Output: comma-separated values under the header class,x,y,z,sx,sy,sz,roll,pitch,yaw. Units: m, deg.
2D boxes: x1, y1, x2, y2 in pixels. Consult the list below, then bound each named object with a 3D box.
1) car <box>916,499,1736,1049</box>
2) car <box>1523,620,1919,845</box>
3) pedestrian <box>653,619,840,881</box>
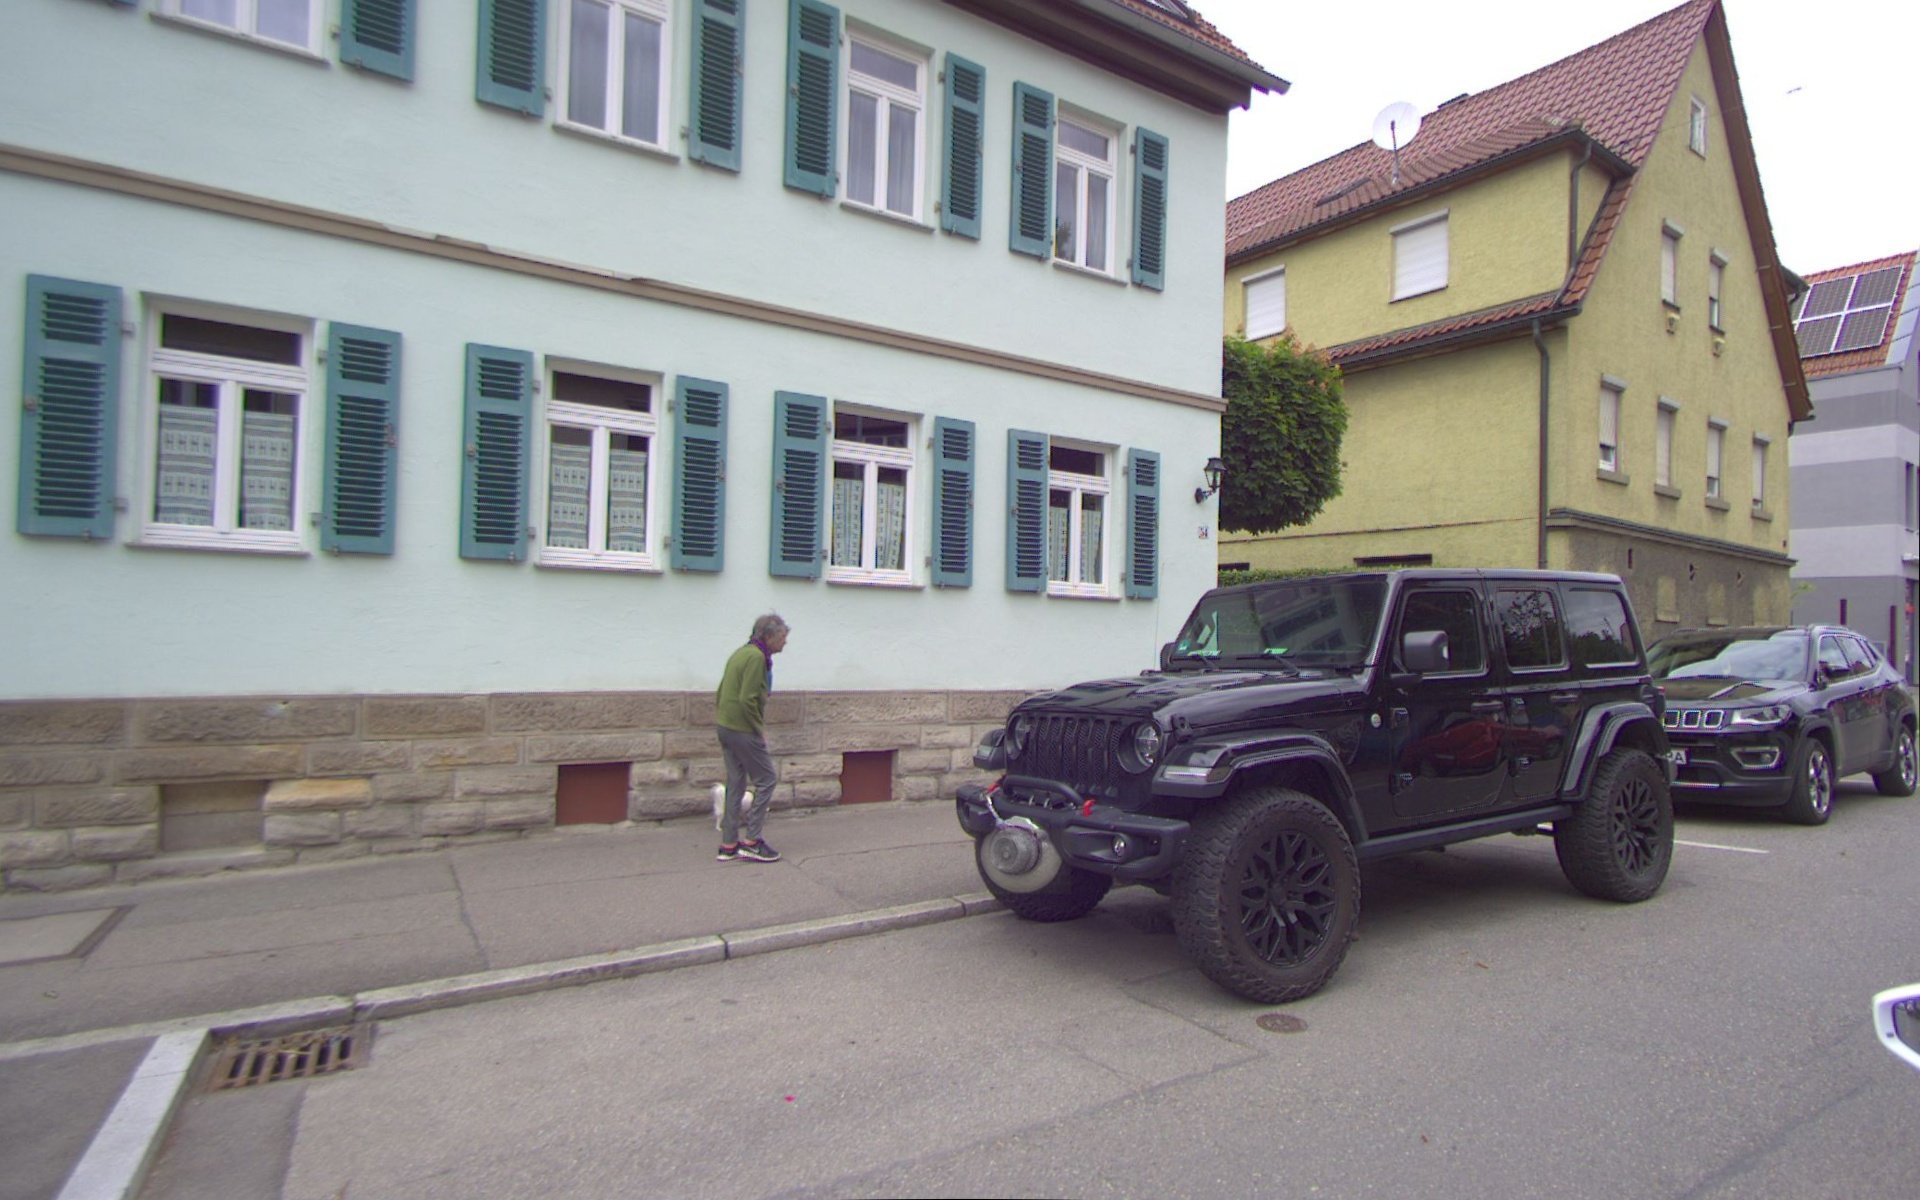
class,x,y,z,sx,sy,sz,roll,pitch,yaw
car,2.246,0.732,5.820,4.617,2.039,1.984,1,-4,-32
car,7.529,1.064,9.655,4.479,1.640,1.885,0,-2,-35
pedestrian,-1.389,0.903,6.486,0.964,1.519,0.802,2,0,-29
